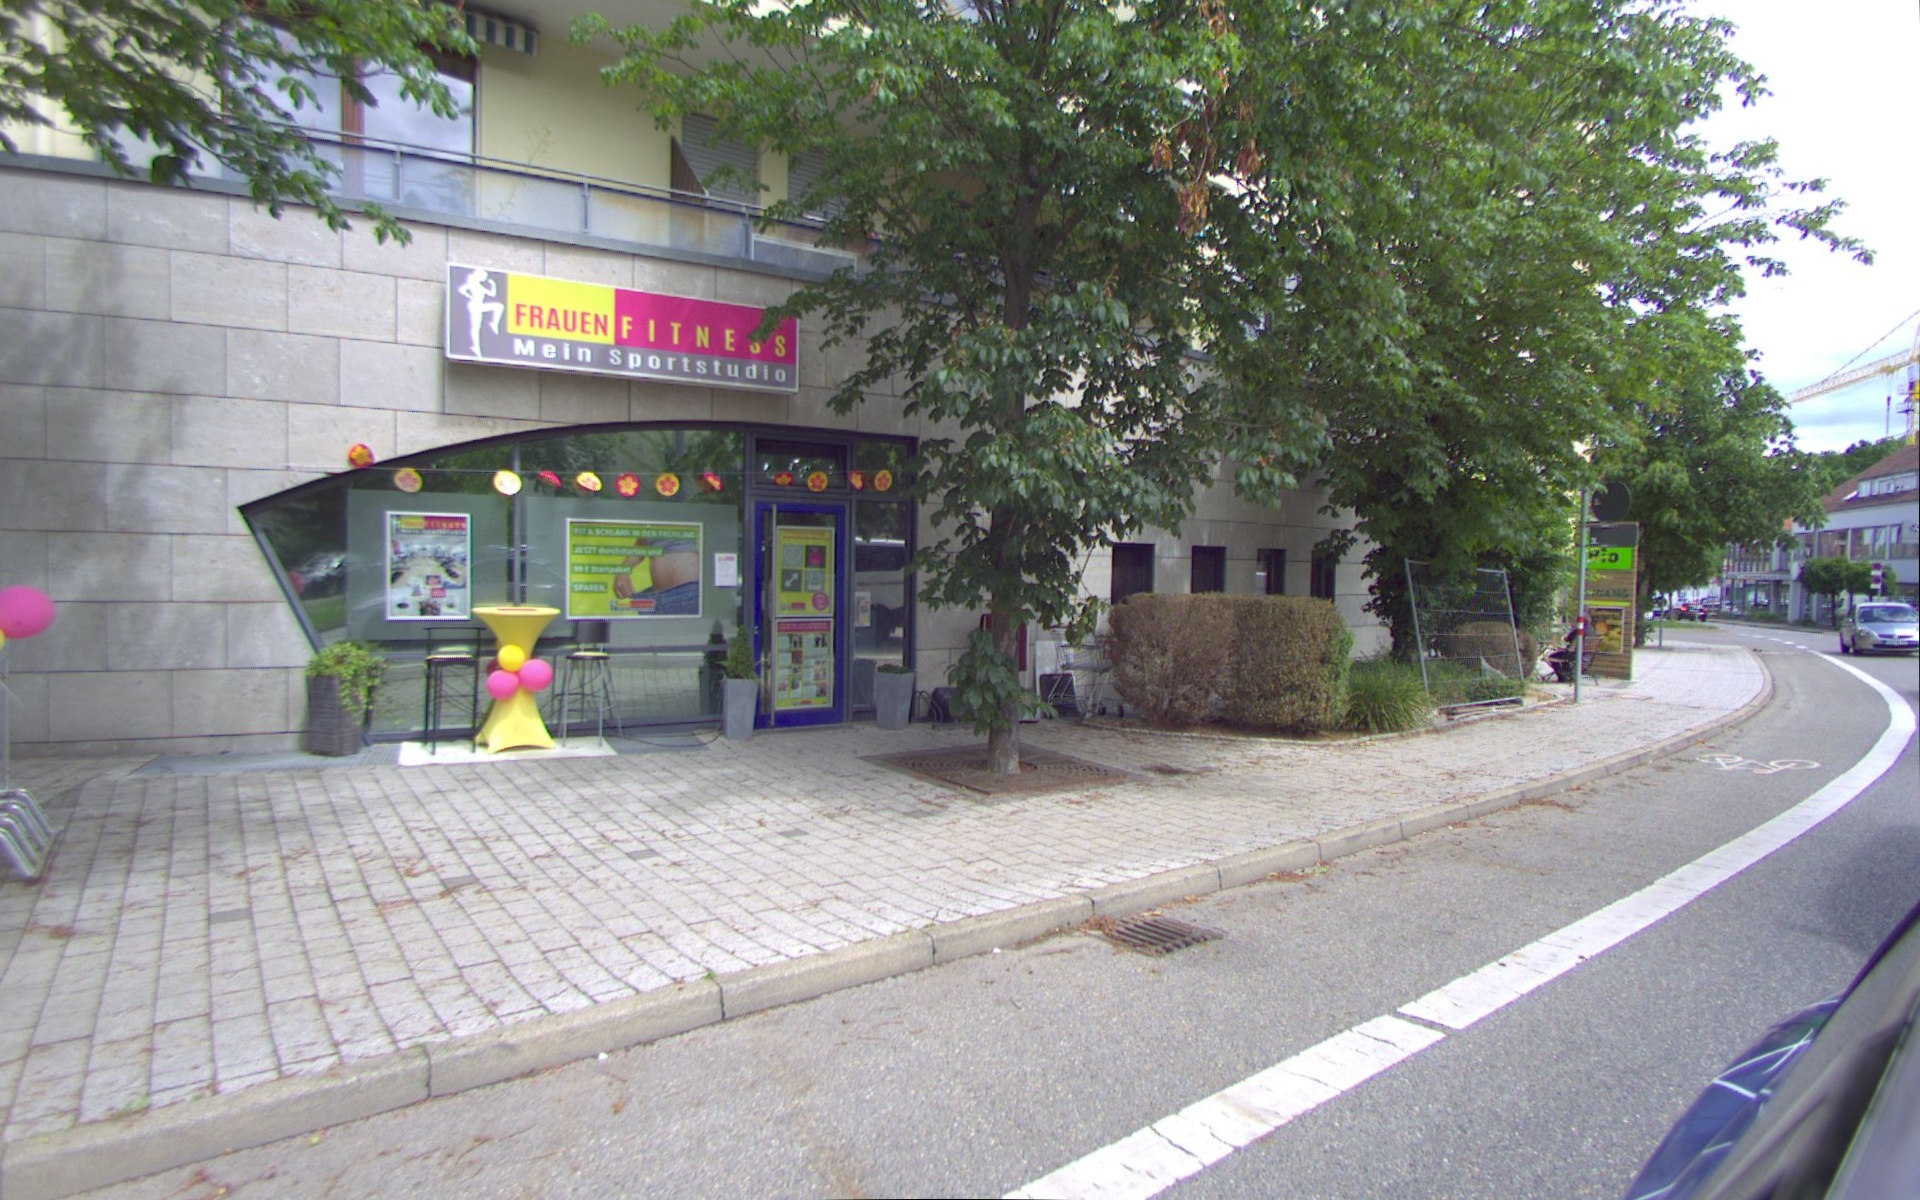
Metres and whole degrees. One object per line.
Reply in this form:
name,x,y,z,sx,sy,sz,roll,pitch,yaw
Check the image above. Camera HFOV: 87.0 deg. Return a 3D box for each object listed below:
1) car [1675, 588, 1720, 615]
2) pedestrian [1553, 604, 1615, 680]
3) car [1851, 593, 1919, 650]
car,53.672,0.089,73.737,1.722,1.874,3.970,2,2,23
pedestrian,11.370,0.741,18.440,0.741,1.317,0.730,0,2,-41
car,27.070,0.574,28.974,3.928,1.505,1.693,-1,0,-39
